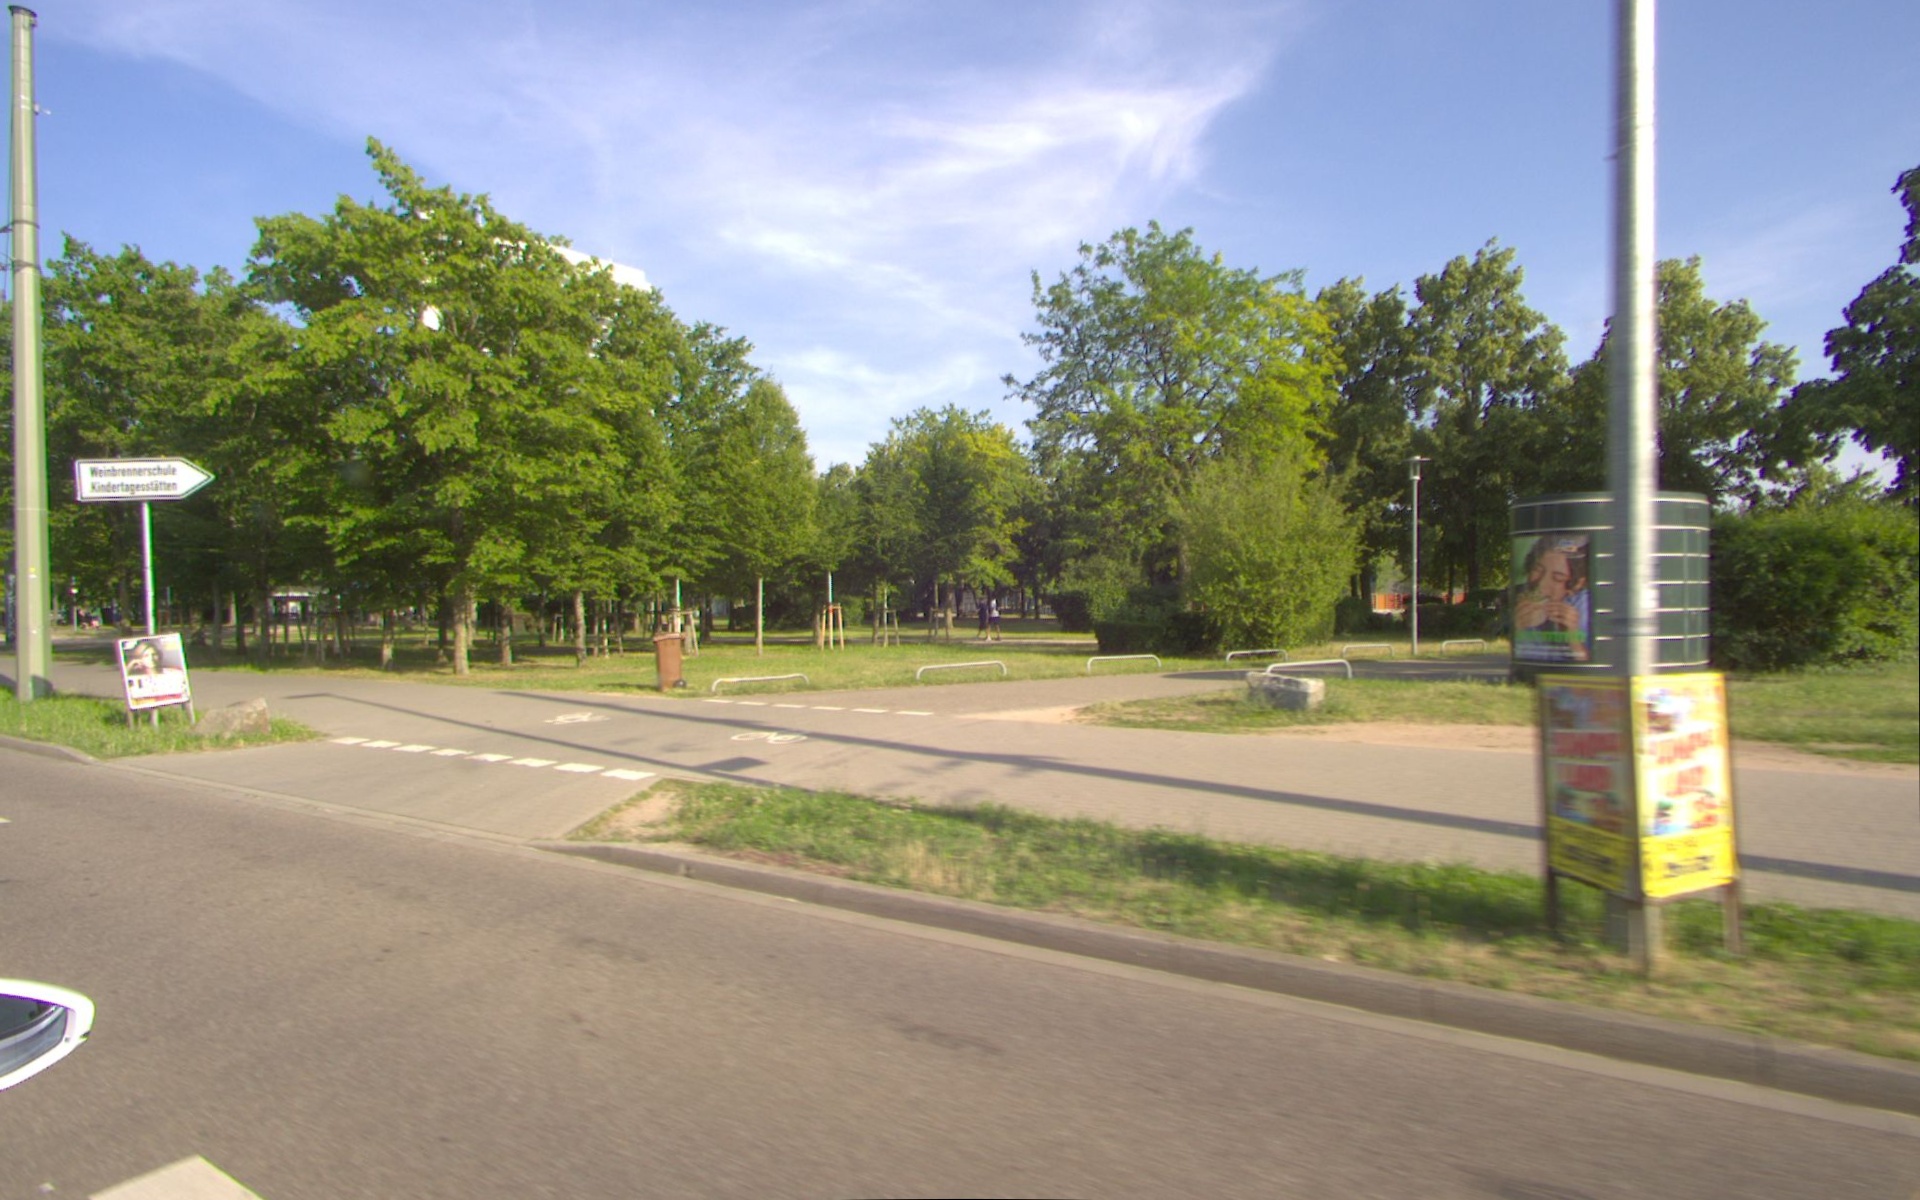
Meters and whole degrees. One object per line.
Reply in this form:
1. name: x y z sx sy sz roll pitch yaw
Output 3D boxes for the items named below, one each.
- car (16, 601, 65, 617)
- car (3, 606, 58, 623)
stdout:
1. car: -102.496 0.972 111.603 3.959 1.673 1.981 -1 0 -43
2. car: -99.010 1.522 106.733 1.961 1.673 3.999 -1 0 6
